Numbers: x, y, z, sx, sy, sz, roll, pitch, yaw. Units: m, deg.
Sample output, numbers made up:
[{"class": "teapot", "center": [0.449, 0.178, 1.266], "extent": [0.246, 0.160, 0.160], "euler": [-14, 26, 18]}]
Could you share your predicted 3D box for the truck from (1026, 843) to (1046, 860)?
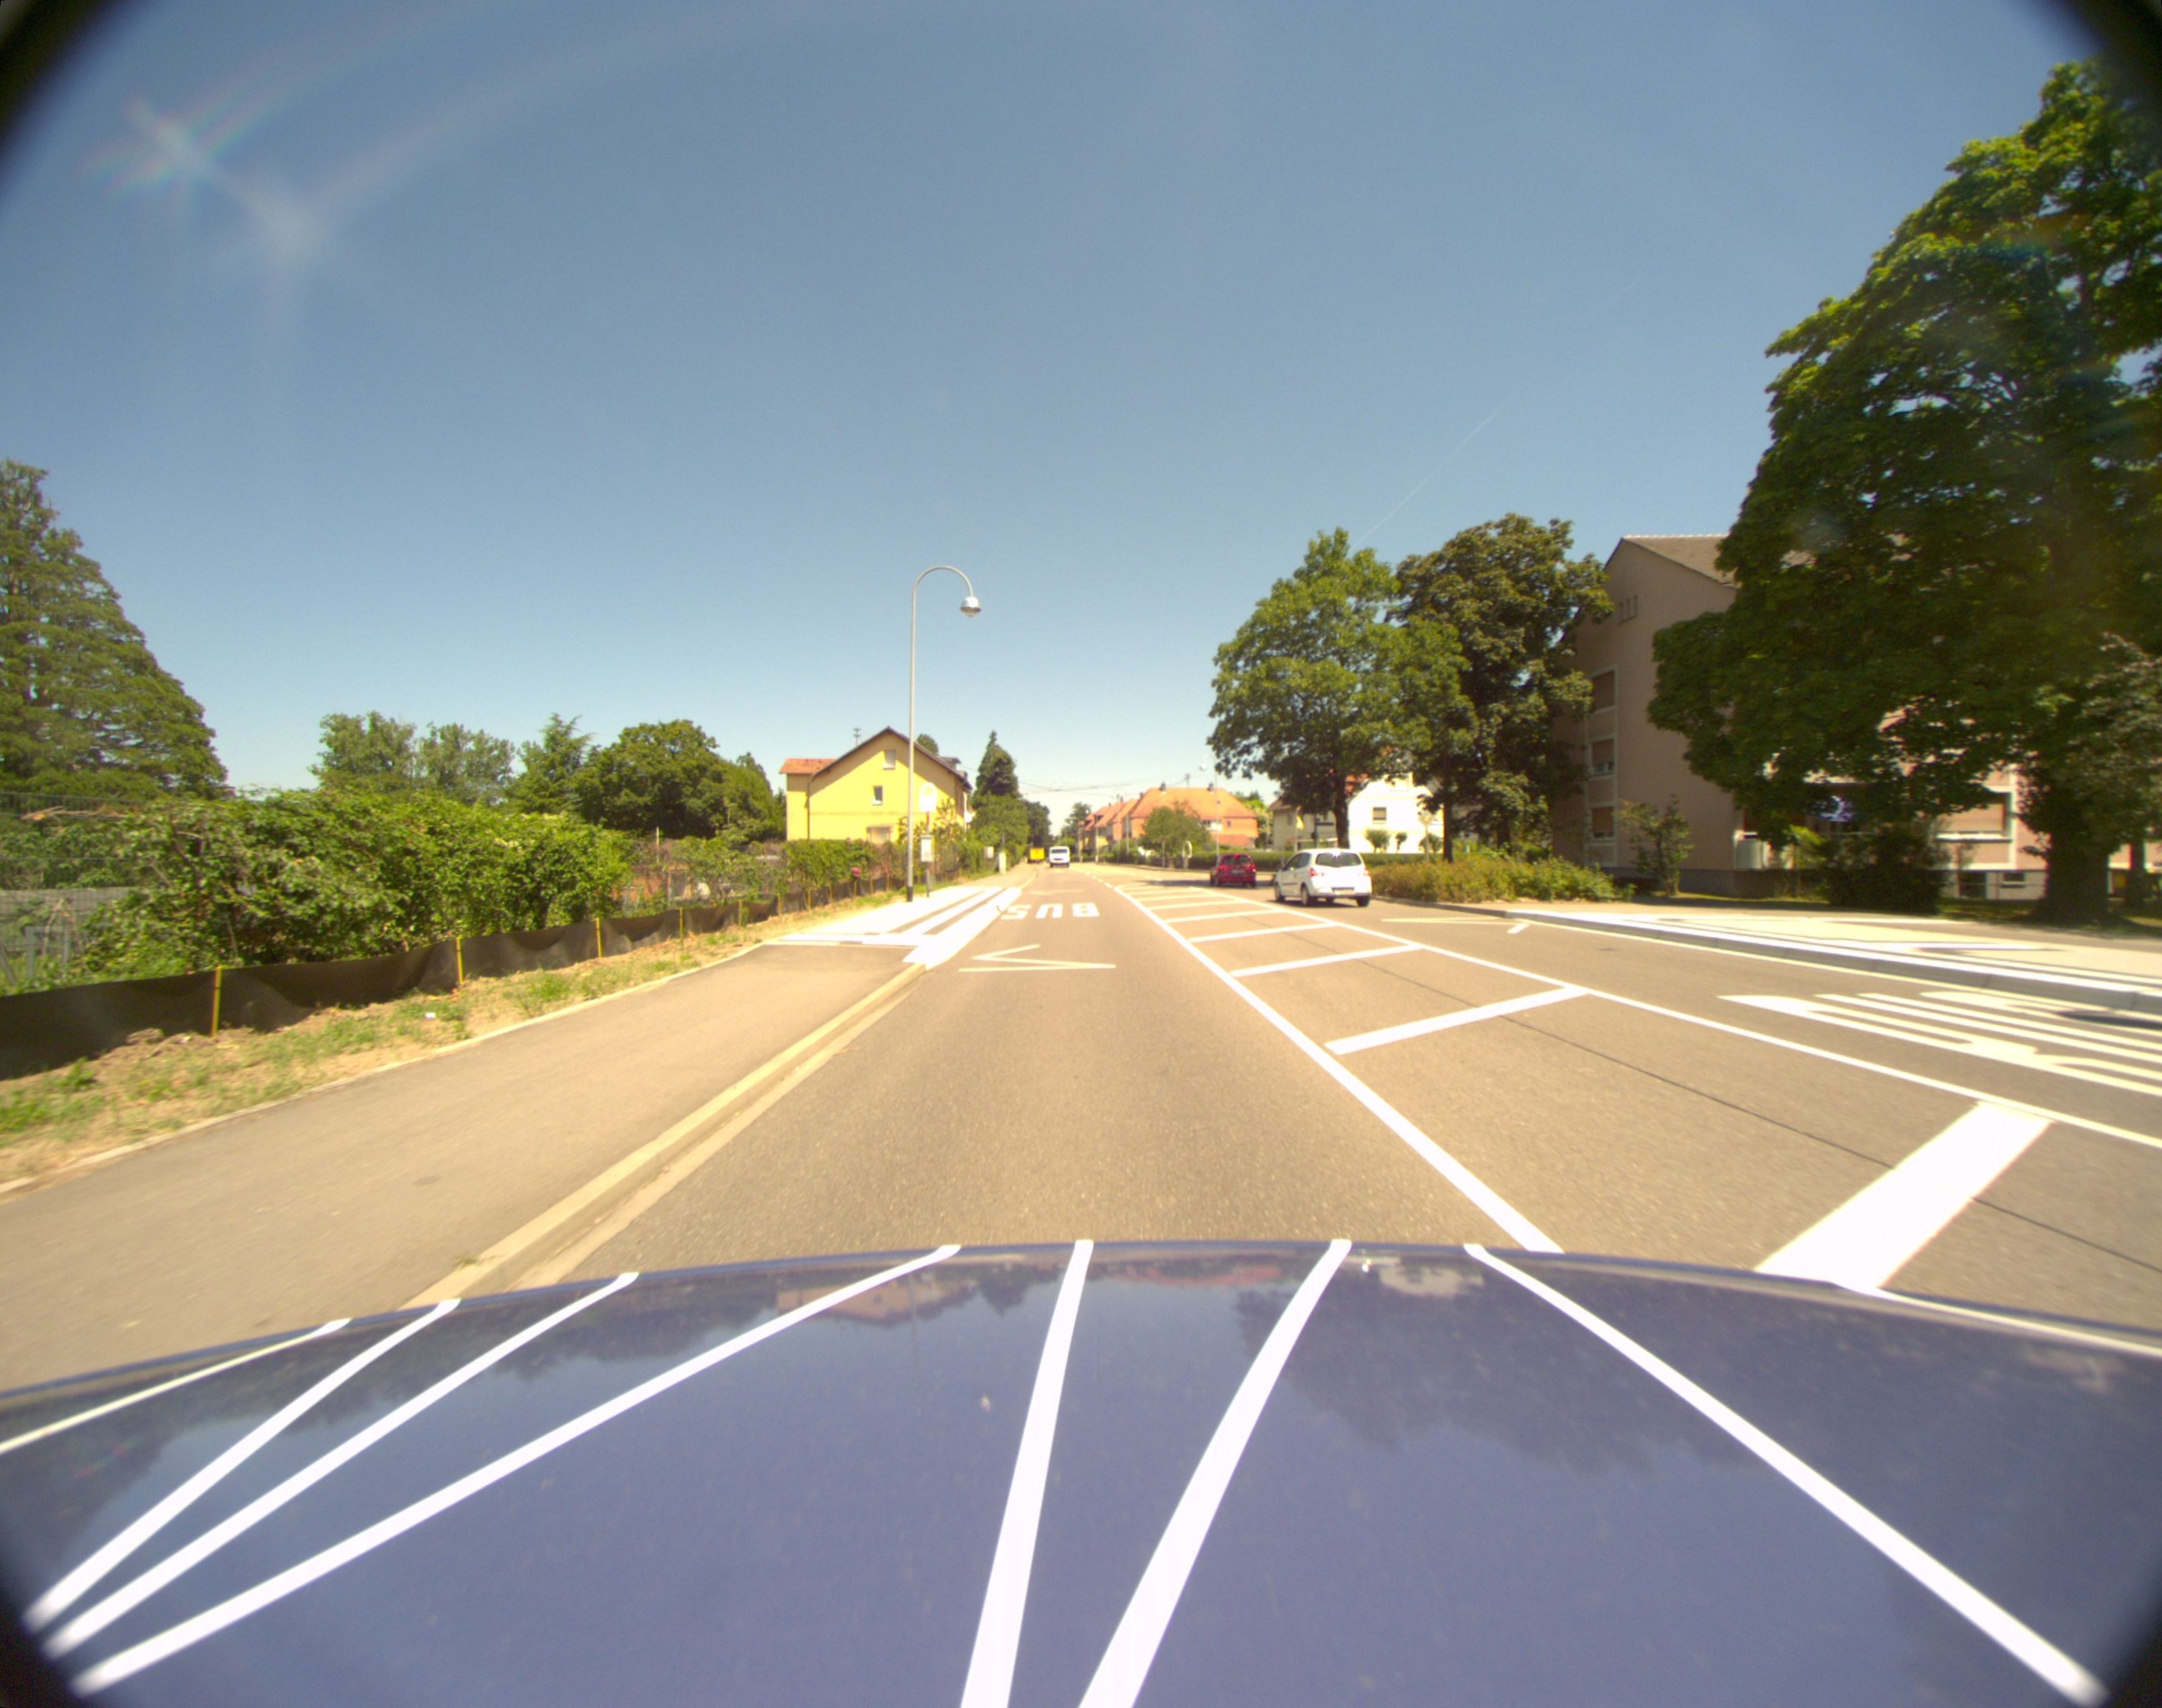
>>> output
[{"class": "truck", "center": [-6.488, -0.278, 109.139], "extent": [2.020, 2.295, 6.170], "euler": [-4, 0, -10]}]

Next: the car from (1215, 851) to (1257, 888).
[{"class": "car", "center": [6.517, 0.616, 32.256], "extent": [1.553, 1.442, 3.693], "euler": [0, 0, 8]}]

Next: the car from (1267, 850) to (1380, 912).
[{"class": "car", "center": [6.351, 0.665, 20.330], "extent": [1.695, 1.451, 3.639], "euler": [-2, 0, -2]}]

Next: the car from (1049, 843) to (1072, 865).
[{"class": "car", "center": [-2.002, 0.035, 74.102], "extent": [1.999, 2.002, 4.385], "euler": [-2, 0, -4]}]
